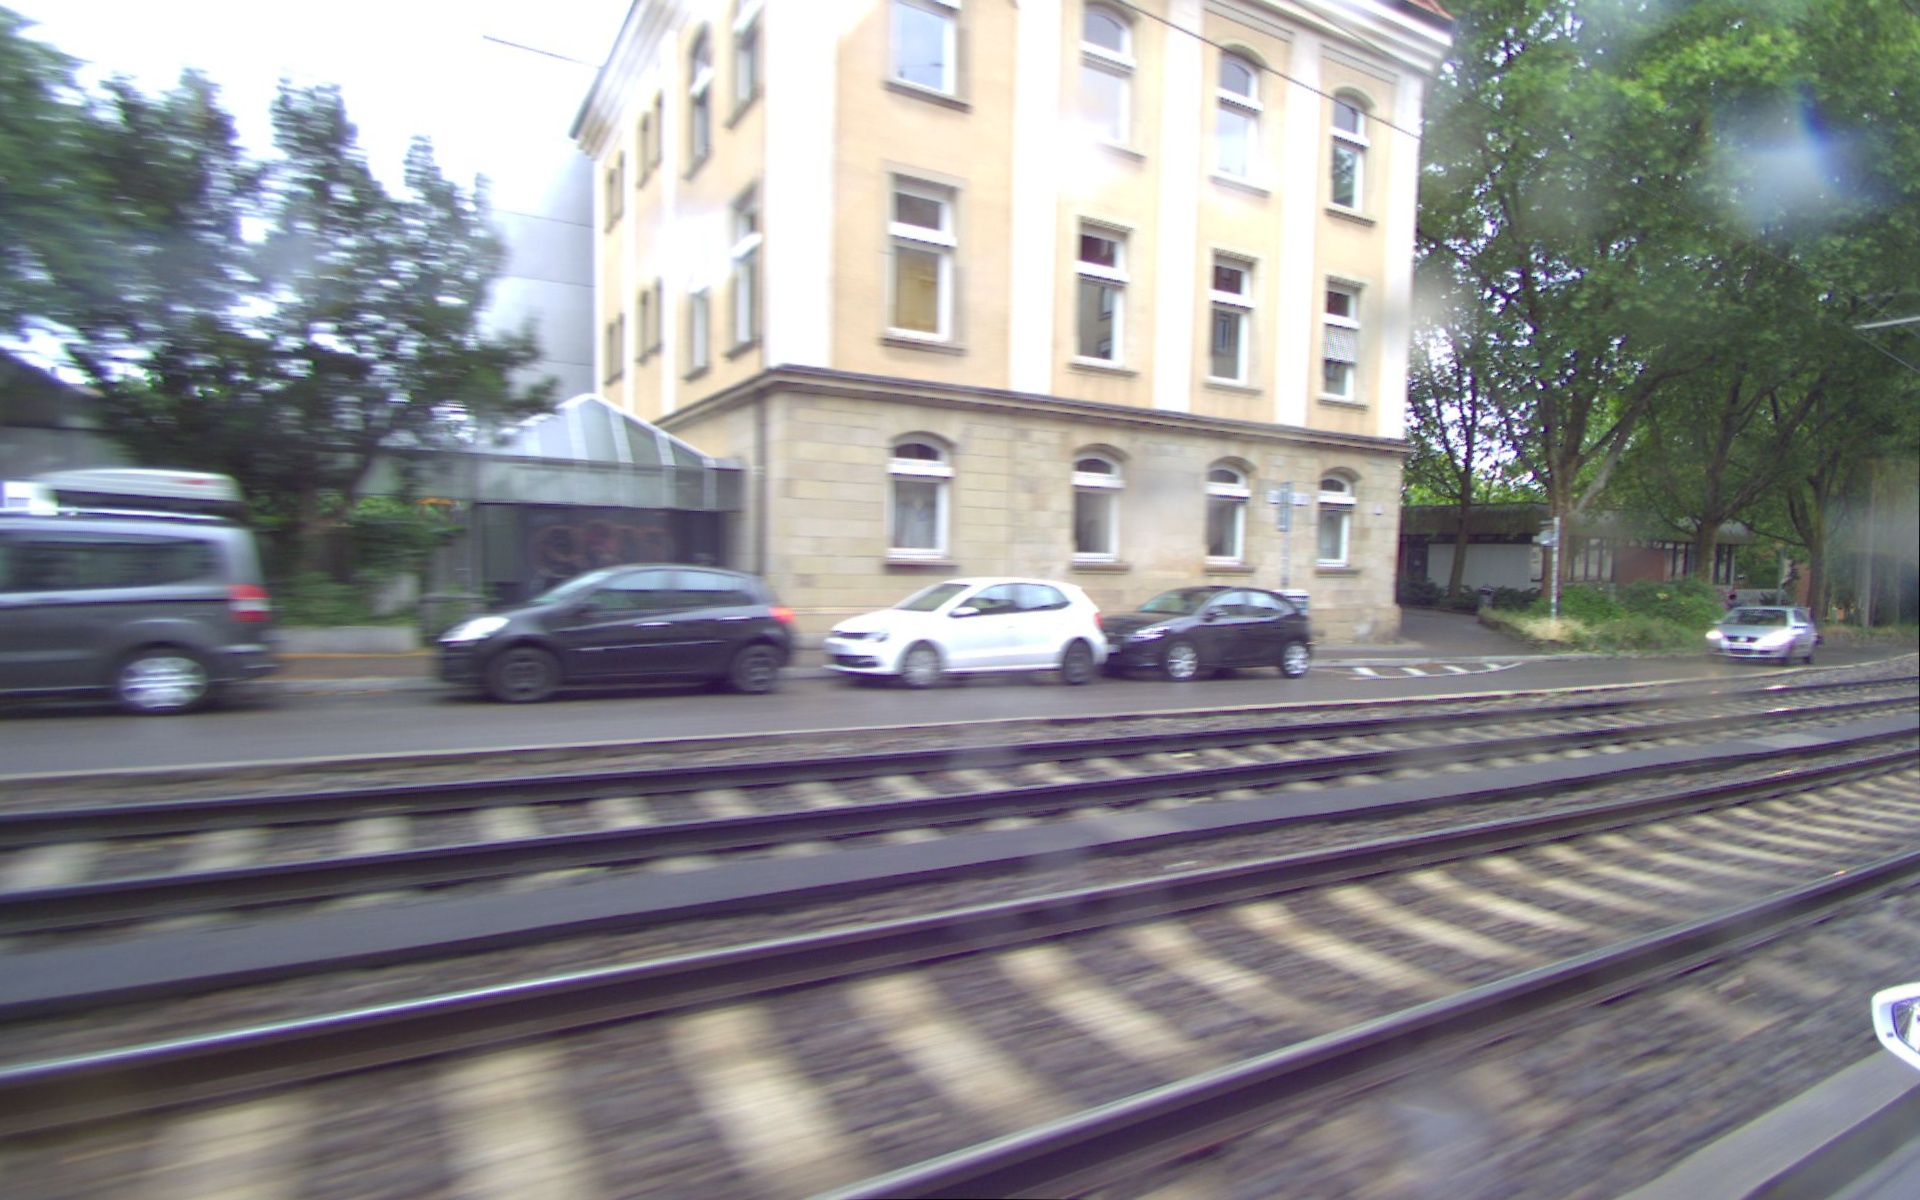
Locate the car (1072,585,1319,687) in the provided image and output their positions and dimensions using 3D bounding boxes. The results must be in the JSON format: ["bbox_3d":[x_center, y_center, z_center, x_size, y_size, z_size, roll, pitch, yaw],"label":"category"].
[{"bbox_3d":[3.804,0.525,16.089,3.807,1.448,1.606,1,1,-31],"label":"car"}]

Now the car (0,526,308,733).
[{"bbox_3d":[-8.127,0.240,8.741,4.025,1.665,1.568,1,-1,-31],"label":"car"}]

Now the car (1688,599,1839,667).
[{"bbox_3d":[20.307,0.795,25.337,4.589,1.525,1.804,1,2,-36],"label":"car"}]

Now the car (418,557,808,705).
[{"bbox_3d":[-3.891,0.343,11.410,3.961,1.432,1.667,1,-1,-29],"label":"car"}]

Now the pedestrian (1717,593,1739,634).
[{"bbox_3d":[32.828,0.576,42.922,0.684,1.684,0.638,2,1,41],"label":"pedestrian"}]

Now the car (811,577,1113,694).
[{"bbox_3d":[0.079,0.471,13.799,3.939,1.409,1.493,1,-1,-29],"label":"car"}]
